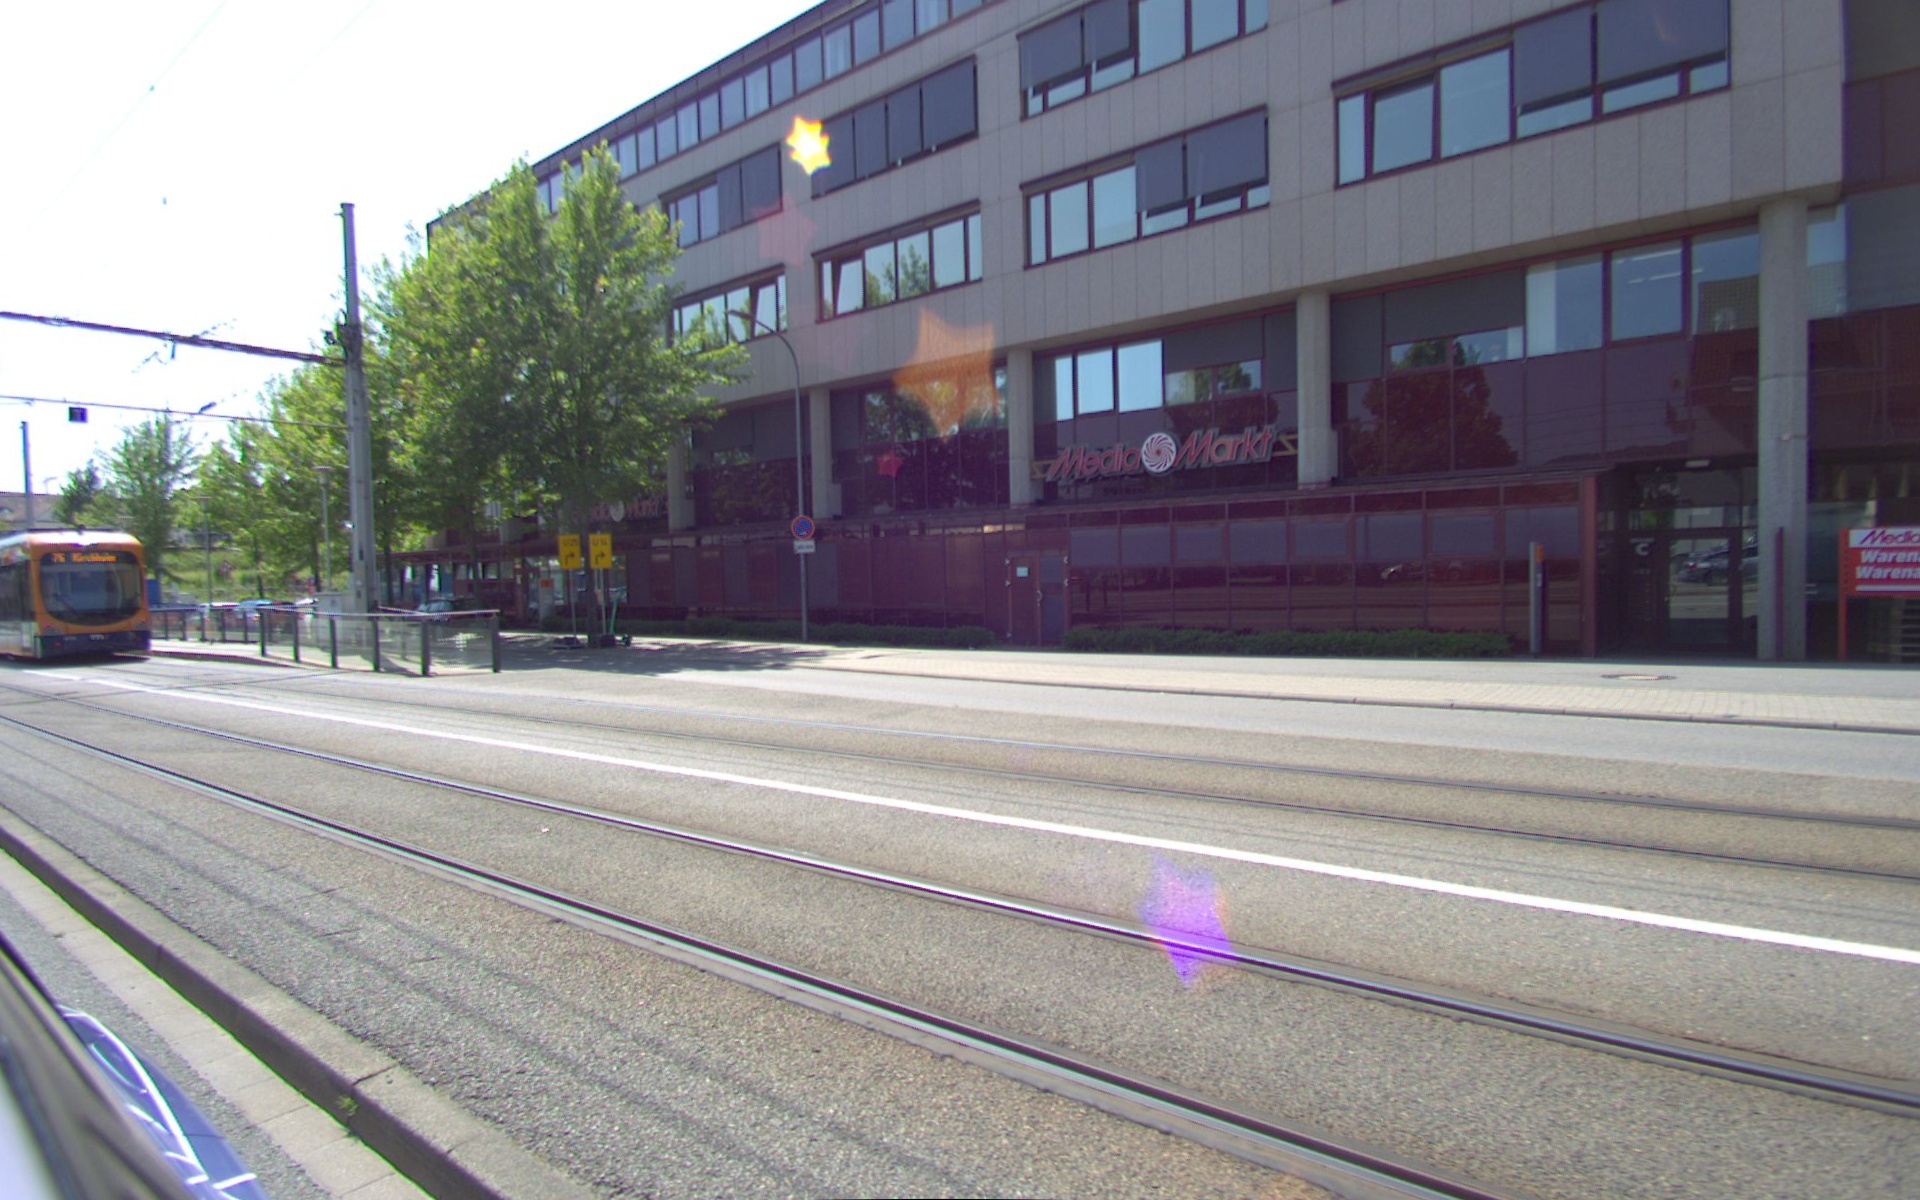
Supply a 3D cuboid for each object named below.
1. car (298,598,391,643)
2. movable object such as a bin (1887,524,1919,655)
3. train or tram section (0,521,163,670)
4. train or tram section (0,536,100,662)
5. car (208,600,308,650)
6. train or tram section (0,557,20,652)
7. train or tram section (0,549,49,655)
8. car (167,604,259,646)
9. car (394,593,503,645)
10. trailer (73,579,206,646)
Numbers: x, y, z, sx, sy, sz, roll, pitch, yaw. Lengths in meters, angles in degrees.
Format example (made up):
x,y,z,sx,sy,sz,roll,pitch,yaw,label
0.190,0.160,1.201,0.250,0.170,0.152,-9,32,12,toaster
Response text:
x,y,z,sx,sy,sz,roll,pitch,yaw,label
-22.748,0.753,37.357,3.901,1.474,1.706,-1,3,40,car
16.350,-0.187,15.215,3.065,2.029,1.983,-1,1,26,movable object such as a bin
-23.458,-0.091,26.526,6.355,3.473,2.555,-1,1,39,train or tram section
-28.730,0.005,30.762,7.128,3.473,2.555,-1,1,39,train or tram section
-23.999,0.847,34.562,4.065,1.596,1.706,-1,-1,38,car
-37.691,0.233,37.987,5.836,3.473,2.586,-1,1,39,train or tram section
-33.460,0.101,34.584,5.004,3.473,2.586,-1,1,38,train or tram section
-28.342,0.949,38.362,4.273,1.483,1.706,-1,0,38,car
-16.916,0.617,33.394,3.997,1.530,1.743,-1,2,40,car
-36.259,0.561,44.635,7.588,2.647,2.771,-1,1,37,trailer
